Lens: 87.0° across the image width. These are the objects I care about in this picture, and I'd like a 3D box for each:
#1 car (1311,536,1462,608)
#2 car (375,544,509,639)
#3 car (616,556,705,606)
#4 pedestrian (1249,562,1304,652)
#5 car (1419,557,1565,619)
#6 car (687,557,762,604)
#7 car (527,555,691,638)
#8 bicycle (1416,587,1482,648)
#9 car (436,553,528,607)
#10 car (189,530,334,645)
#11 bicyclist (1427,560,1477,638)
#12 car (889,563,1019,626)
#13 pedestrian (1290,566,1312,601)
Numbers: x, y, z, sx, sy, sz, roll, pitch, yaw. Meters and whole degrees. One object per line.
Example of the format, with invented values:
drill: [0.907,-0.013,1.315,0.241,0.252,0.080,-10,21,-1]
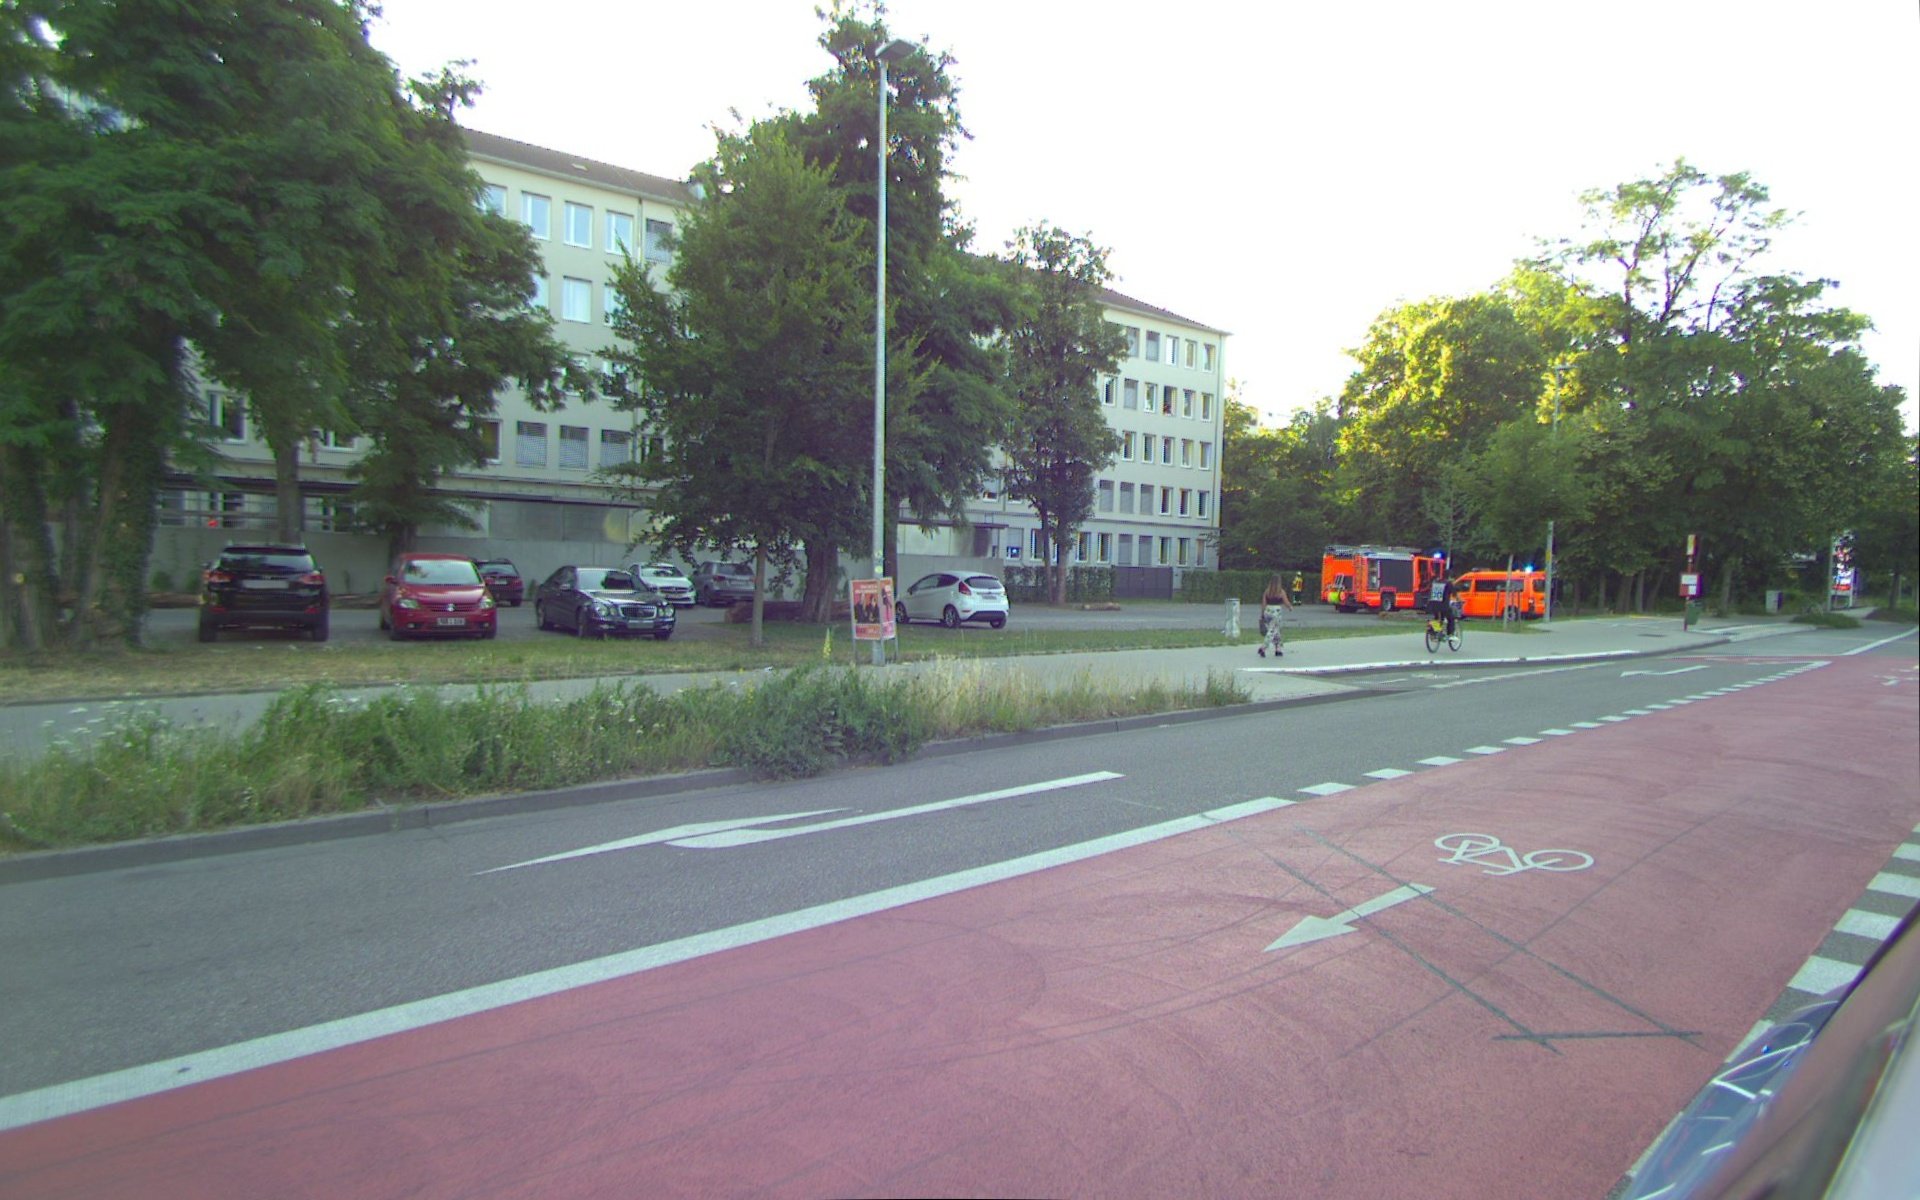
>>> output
car: [20.963,-1.350,49.515,8.138,3.283,2.775,0,2,-34]
car: [-10.111,-0.230,19.594,1.882,1.630,4.003,0,2,-33]
car: [-10.020,-0.658,33.683,1.880,1.540,3.921,0,2,-32]
pedestrian: [5.989,0.126,19.175,0.676,1.642,0.682,1,2,-41]
car: [22.777,-0.570,43.552,1.963,2.422,5.168,0,2,-37]
car: [-8.205,-0.701,35.080,1.734,1.477,3.320,1,2,-27]
car: [-7.386,-0.141,20.987,1.884,1.482,4.519,0,3,-37]
bicycle: [10.635,0.360,21.982,1.866,1.256,0.571,0,2,-41]
car: [-14.528,-0.637,30.696,1.738,1.477,3.626,0,3,-38]
car: [-12.293,-0.291,17.860,1.882,1.761,4.241,0,2,-35]
bicyclist: [10.703,-0.025,22.025,1.019,1.652,0.571,0,2,-41]
car: [-0.224,-0.190,26.853,1.633,1.477,3.667,0,2,-35]
pedestrian: [18.688,-0.921,55.501,0.669,1.864,0.847,1,1,-25]
